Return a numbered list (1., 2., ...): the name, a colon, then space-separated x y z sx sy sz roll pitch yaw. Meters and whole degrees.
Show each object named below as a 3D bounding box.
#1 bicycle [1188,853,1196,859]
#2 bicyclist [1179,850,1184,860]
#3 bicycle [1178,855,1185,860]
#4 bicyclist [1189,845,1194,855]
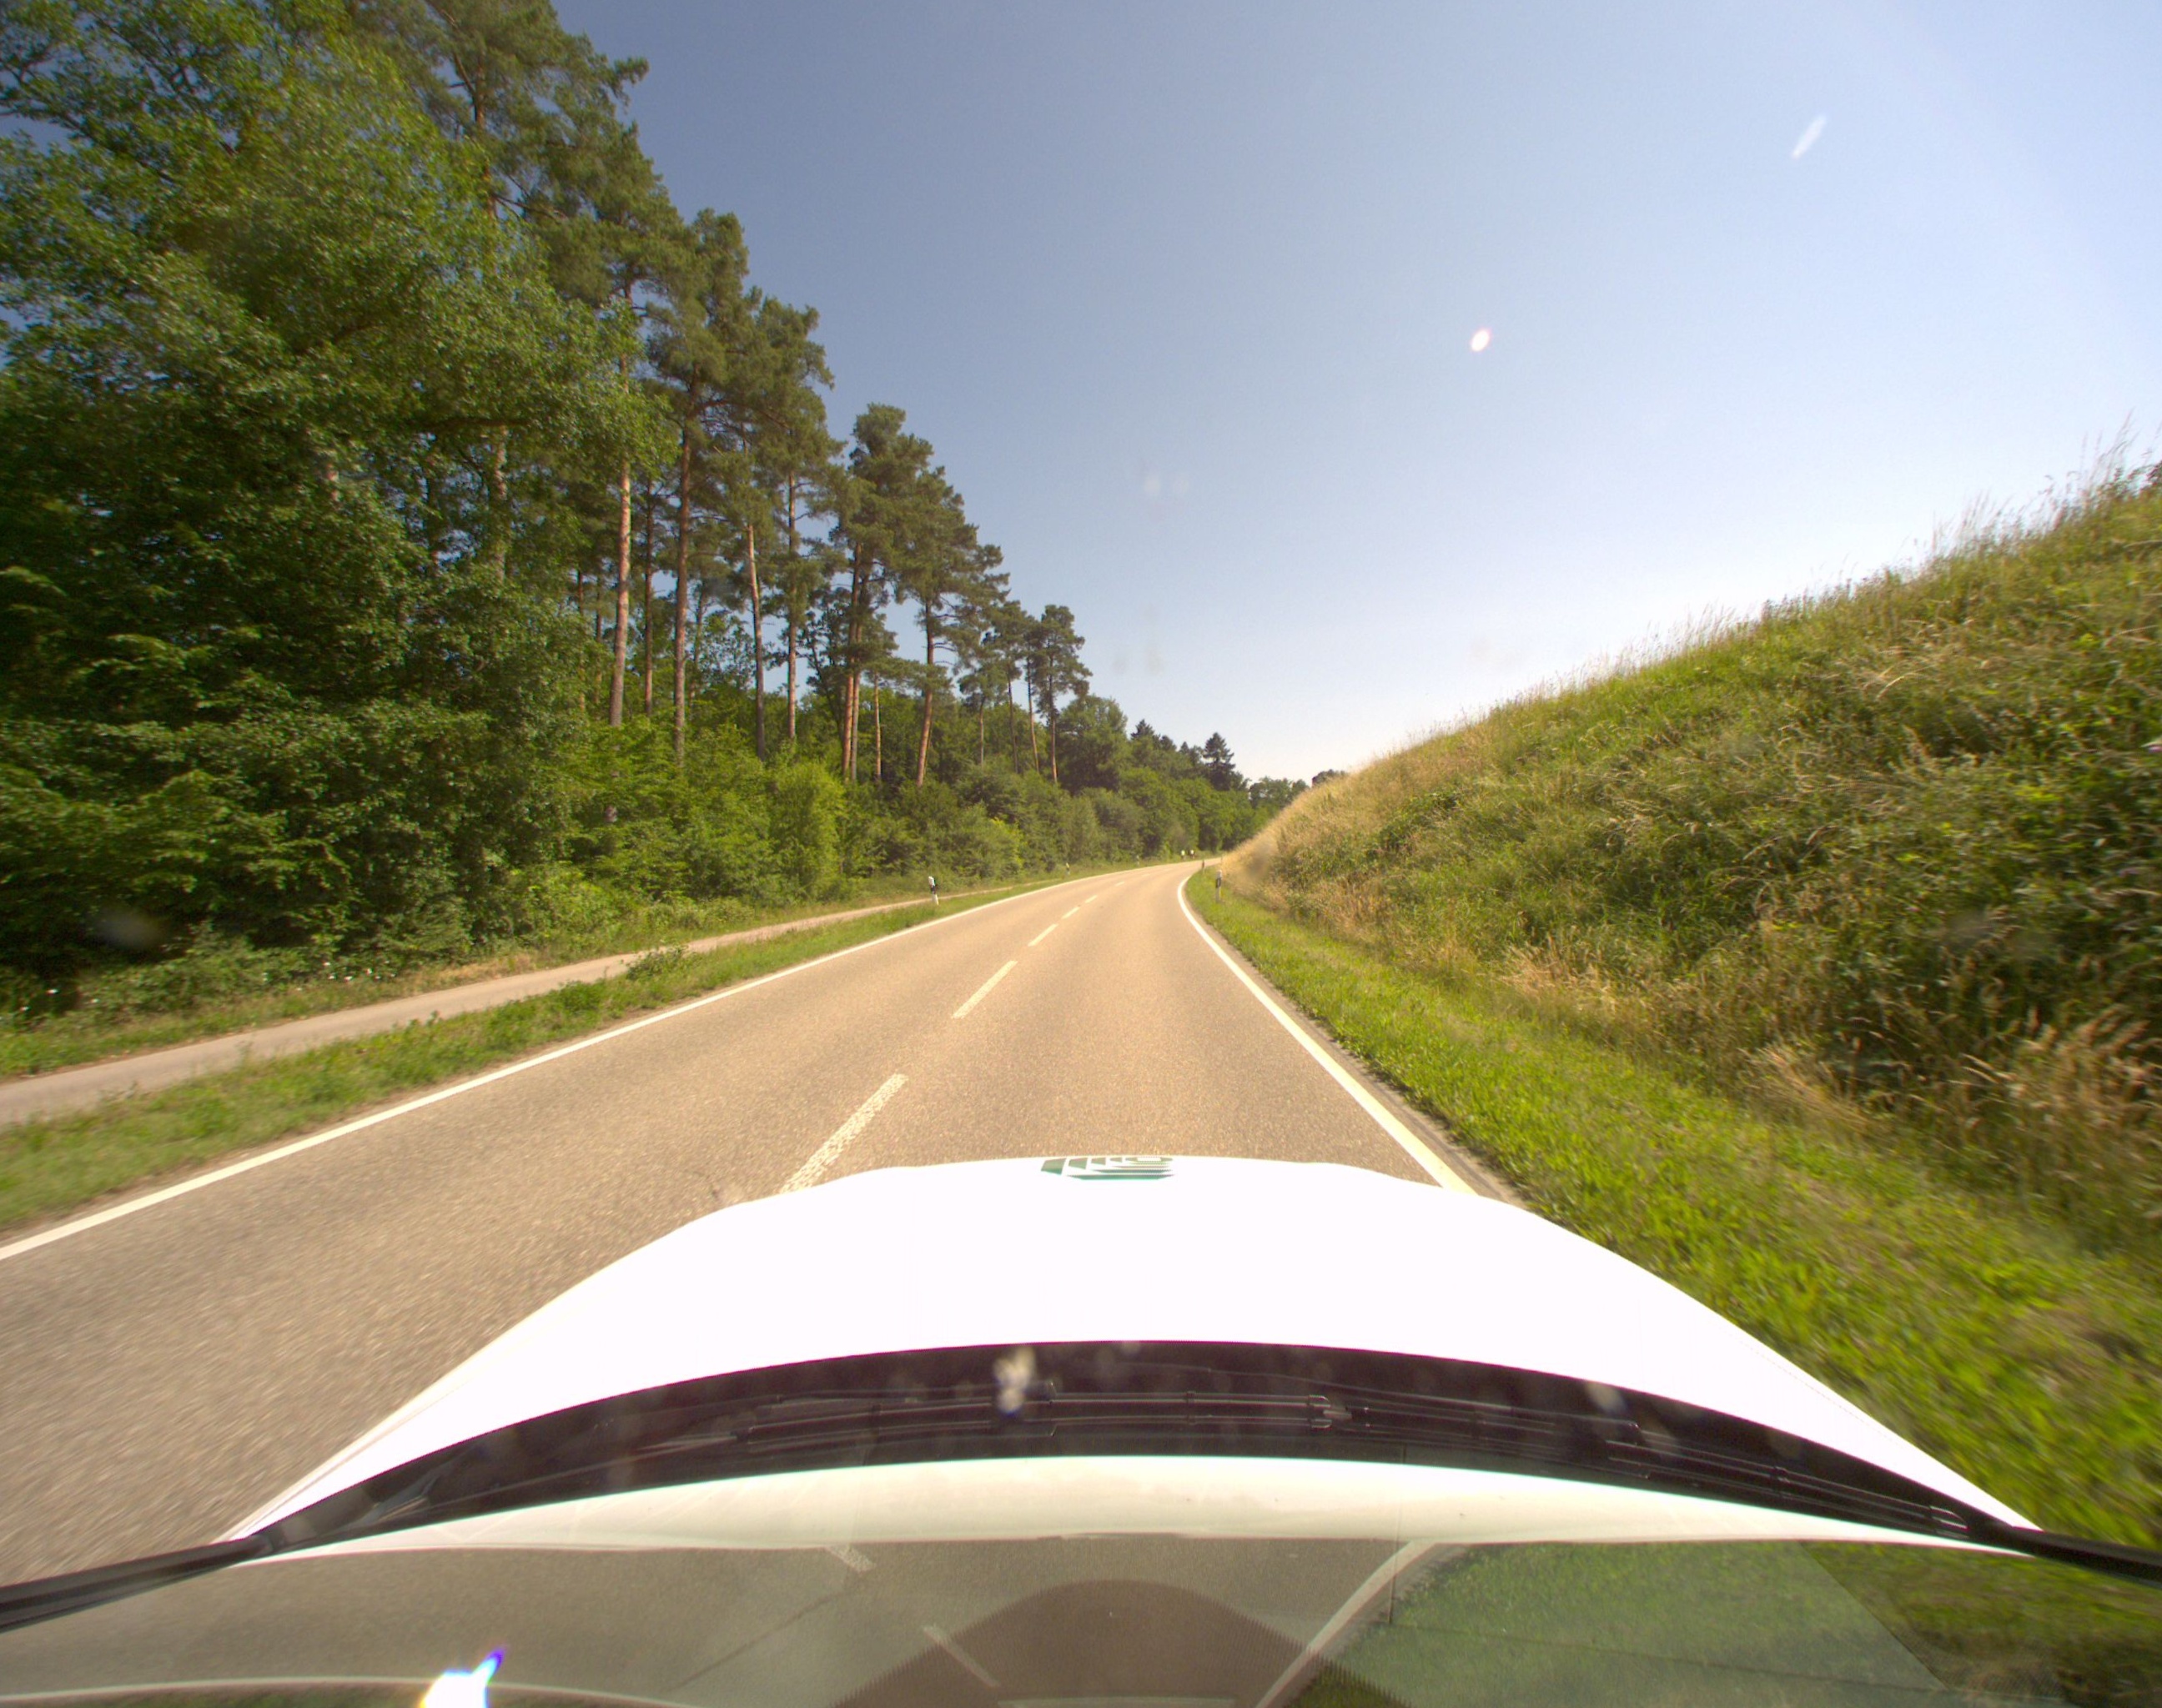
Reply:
1. bicycle: 15.524 0.284 114.185 0.635 0.788 2.147 -4 0 19
2. bicyclist: 14.210 0.104 115.144 0.600 1.415 0.706 -2 -1 19
3. bicycle: 14.230 0.480 115.174 0.614 0.681 2.147 -4 0 19
4. bicyclist: 15.491 -0.516 114.245 0.600 1.415 0.706 -2 0 19
